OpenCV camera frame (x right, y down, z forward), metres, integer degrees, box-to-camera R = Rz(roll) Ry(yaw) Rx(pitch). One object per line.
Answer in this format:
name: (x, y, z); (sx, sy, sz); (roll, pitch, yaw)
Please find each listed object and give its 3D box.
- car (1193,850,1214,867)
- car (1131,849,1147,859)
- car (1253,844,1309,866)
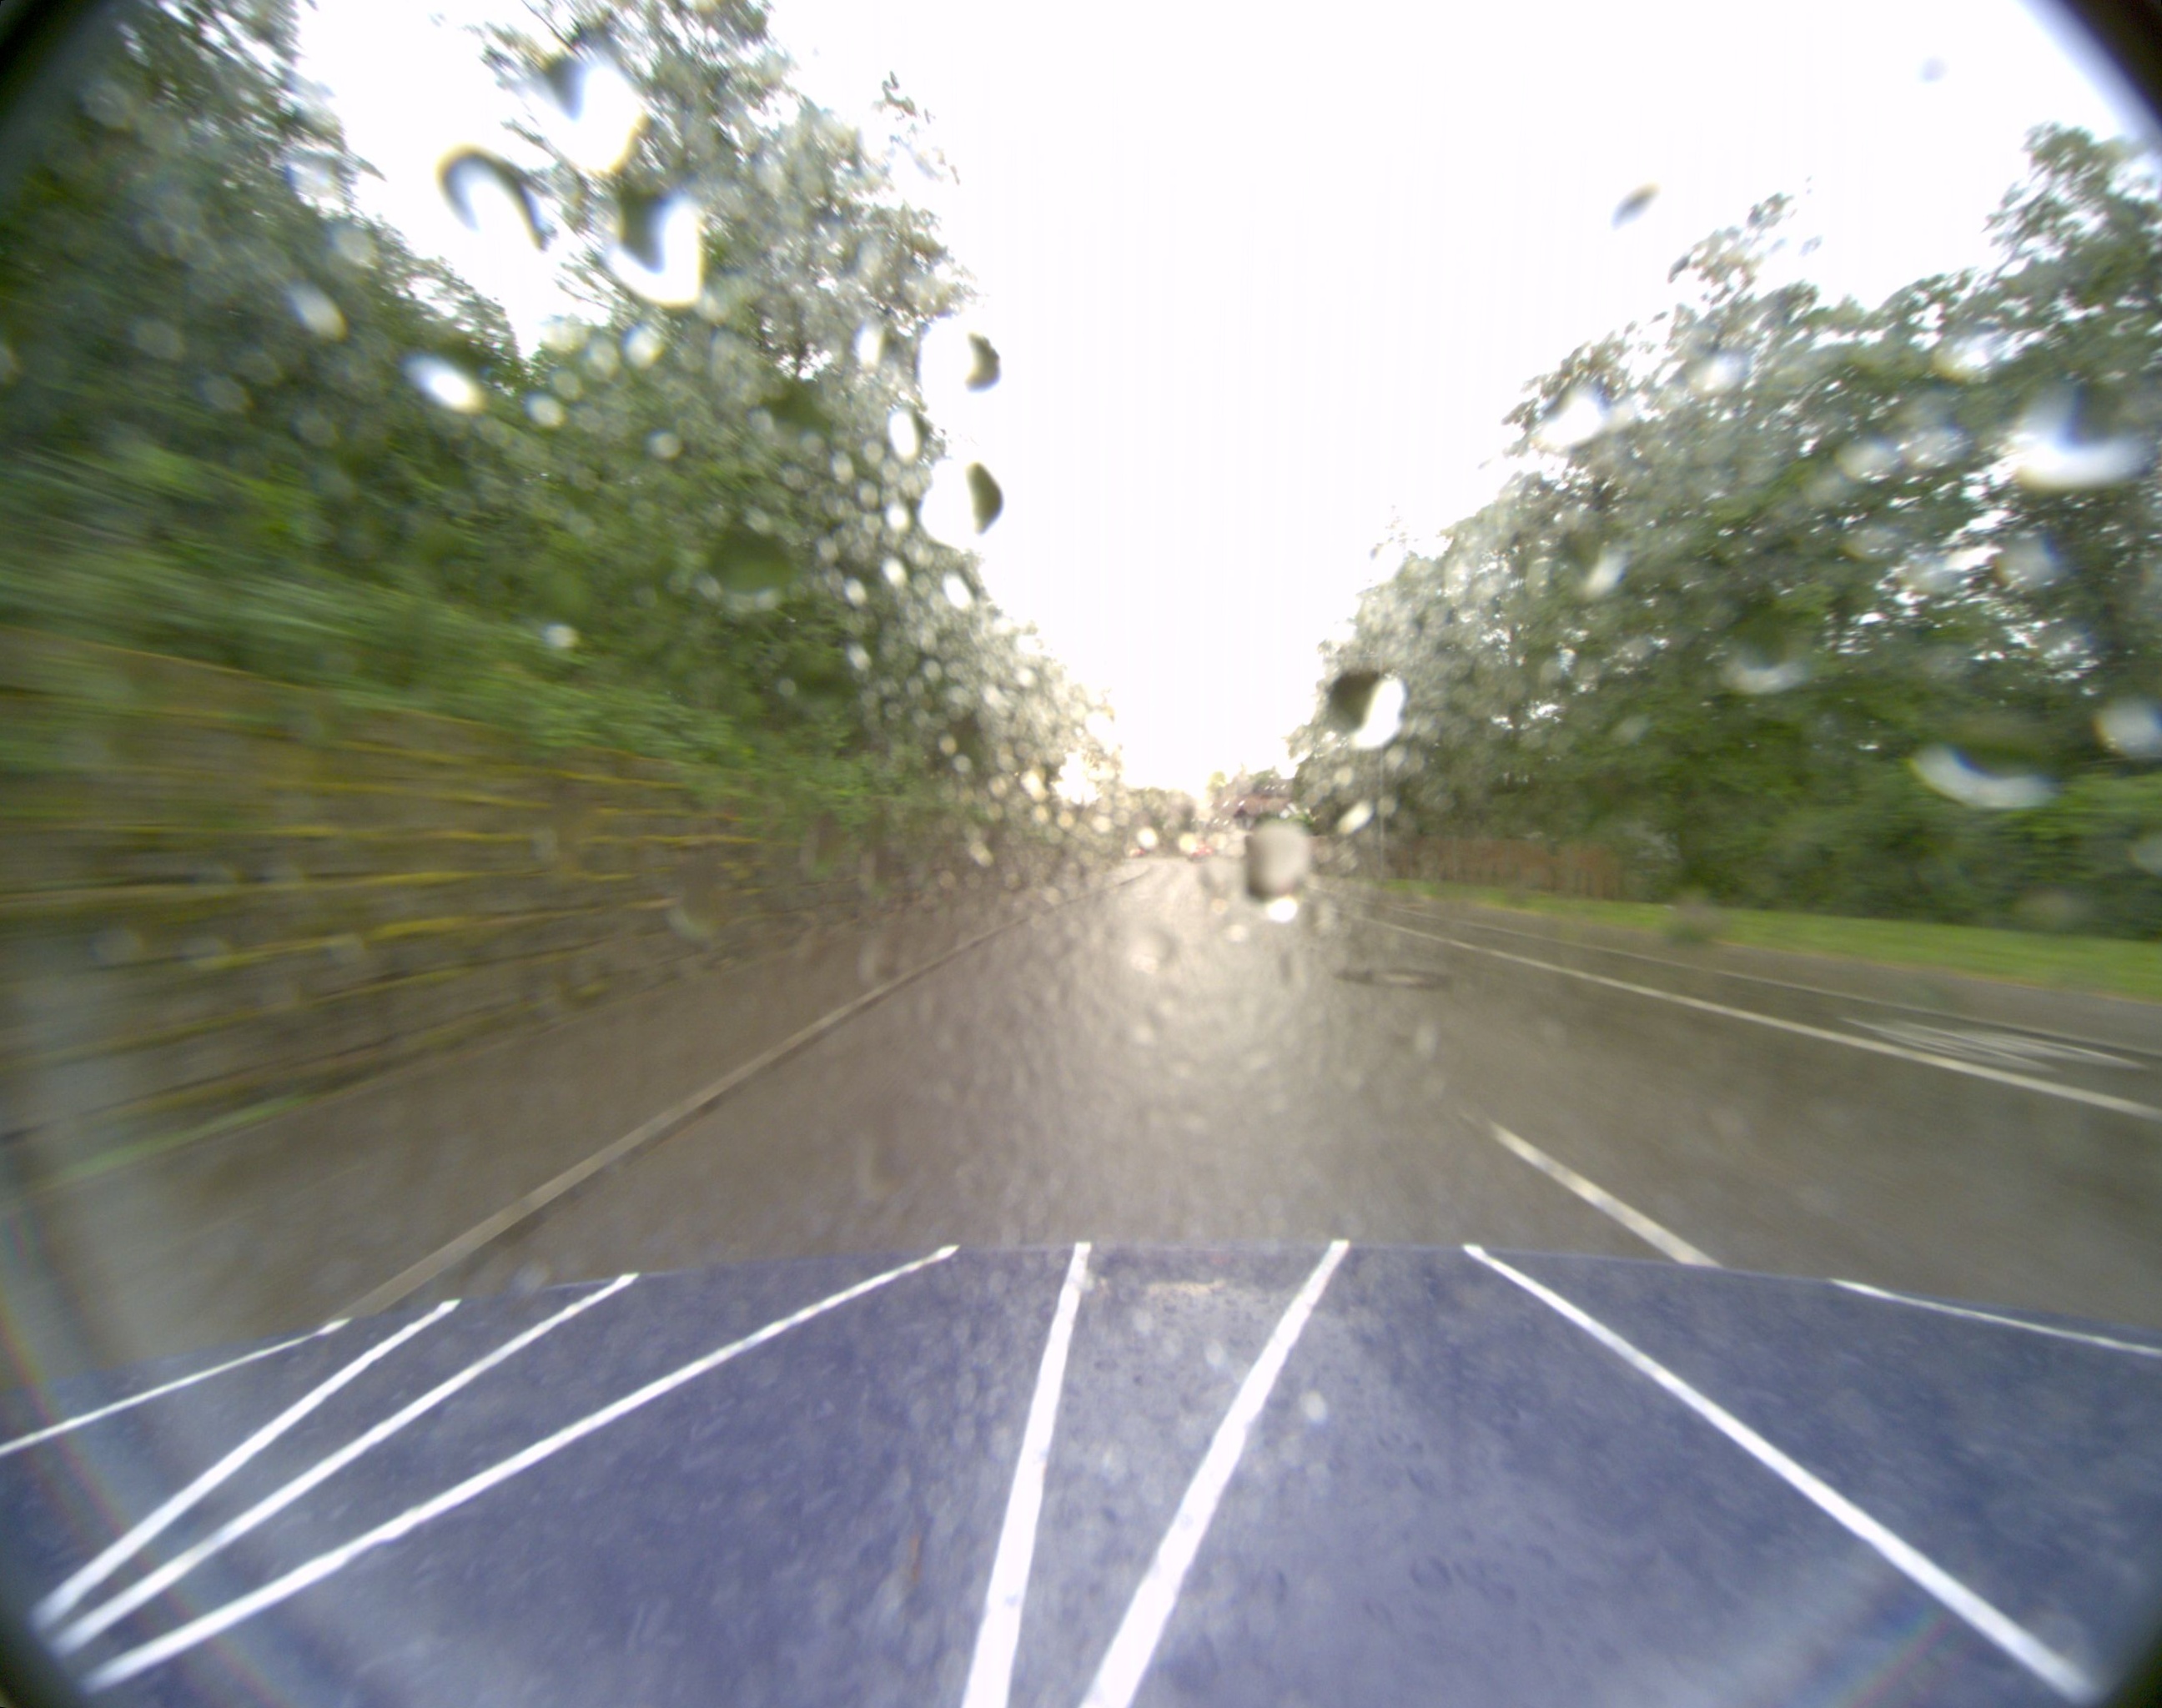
car: (12.209, 0.409, 76.086); (1.922, 1.638, 4.548); (0, 1, 7)
car: (9.152, -0.018, 120.383); (1.839, 1.503, 4.167); (-1, 0, -4)
car: (17.717, 0.055, 67.429); (4.512, 1.849, 2.090); (-1, 0, 6)
